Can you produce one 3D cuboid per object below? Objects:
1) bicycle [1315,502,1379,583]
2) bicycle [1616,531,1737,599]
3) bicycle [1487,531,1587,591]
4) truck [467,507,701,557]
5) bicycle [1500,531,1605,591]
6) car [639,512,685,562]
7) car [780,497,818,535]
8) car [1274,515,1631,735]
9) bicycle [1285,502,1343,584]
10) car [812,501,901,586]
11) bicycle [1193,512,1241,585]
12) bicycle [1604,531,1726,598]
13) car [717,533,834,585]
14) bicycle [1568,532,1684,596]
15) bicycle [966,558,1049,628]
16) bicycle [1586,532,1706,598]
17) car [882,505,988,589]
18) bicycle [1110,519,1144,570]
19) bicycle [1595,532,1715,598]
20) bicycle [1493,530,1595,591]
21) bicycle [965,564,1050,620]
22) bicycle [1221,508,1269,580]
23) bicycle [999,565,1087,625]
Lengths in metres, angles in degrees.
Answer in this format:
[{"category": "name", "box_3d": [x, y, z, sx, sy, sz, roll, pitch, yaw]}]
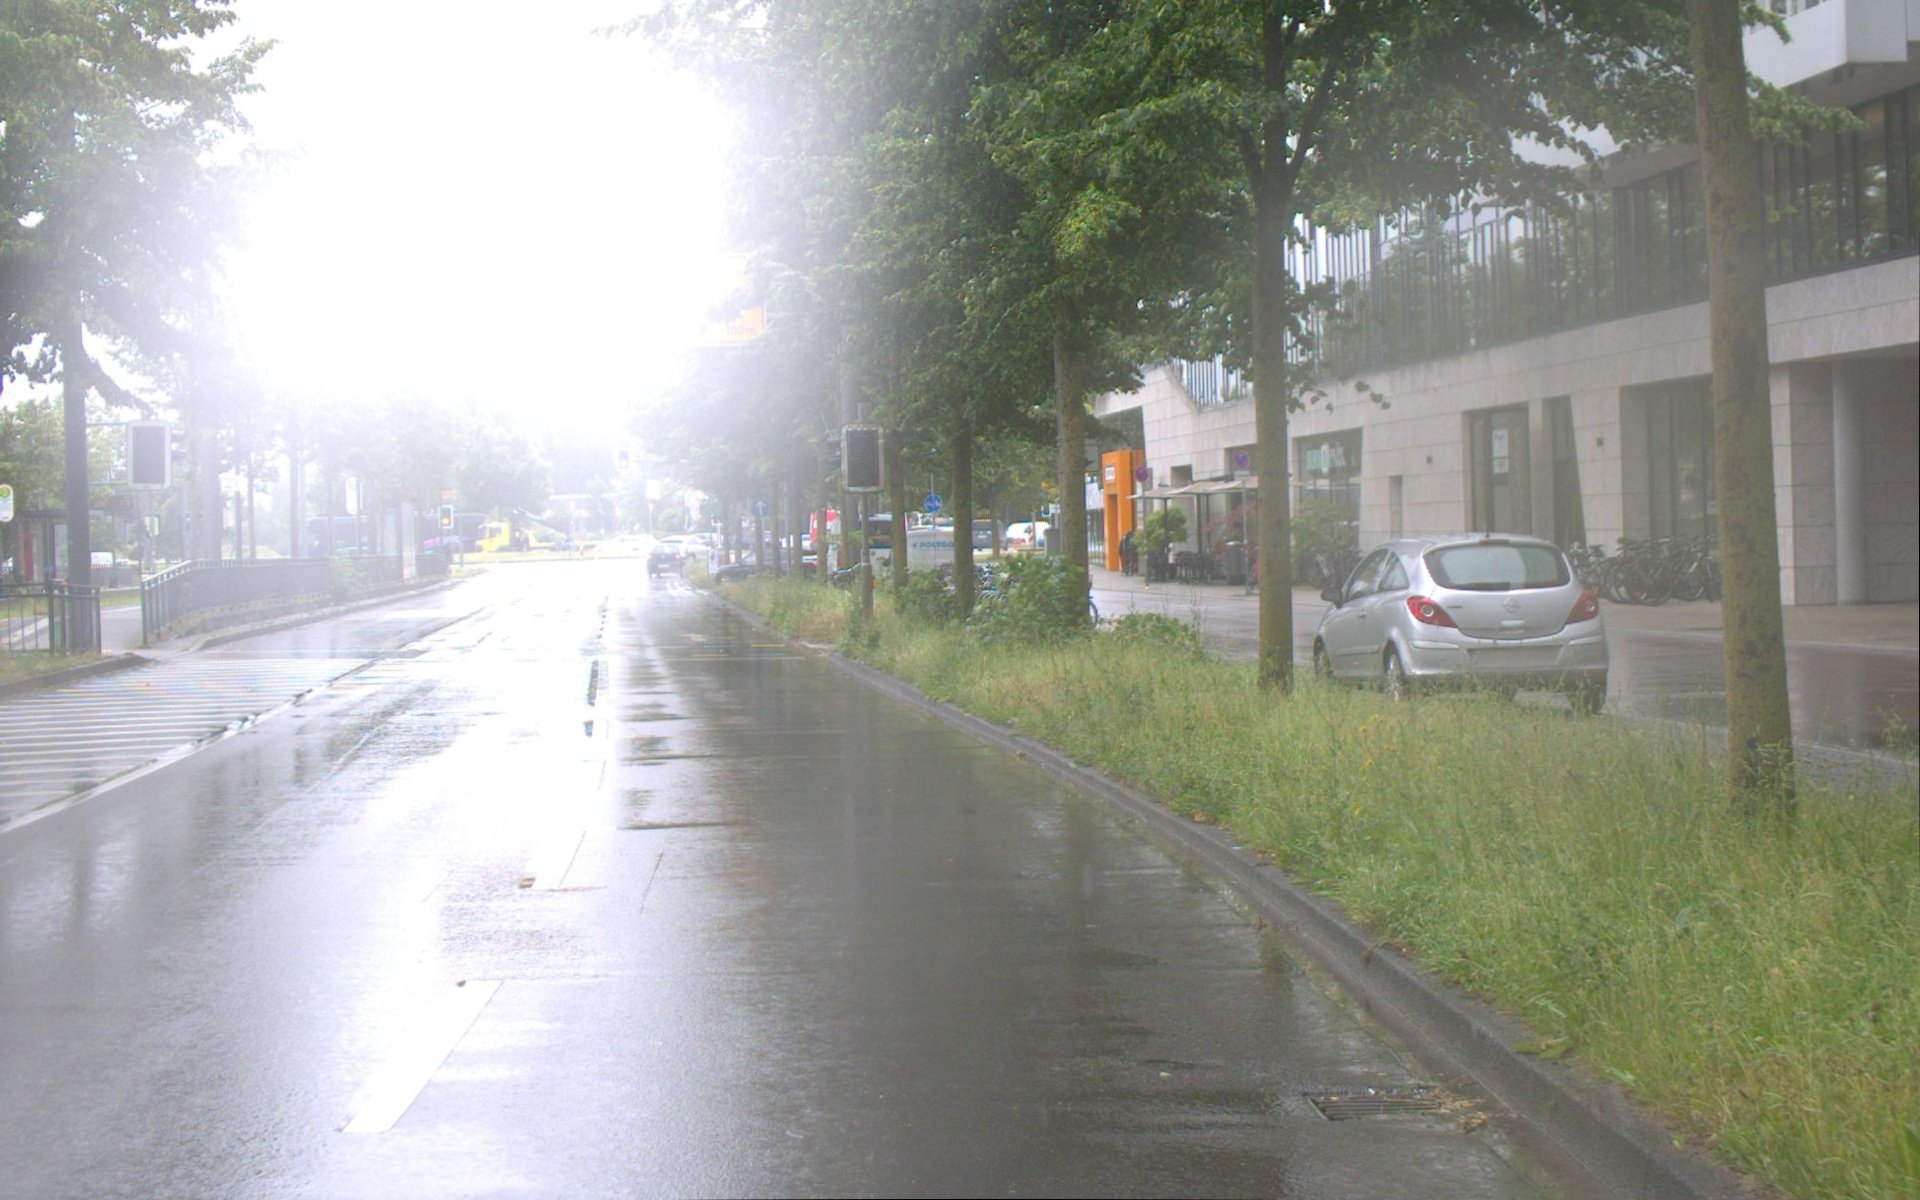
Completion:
[{"category": "bicycle", "box_3d": [8.841, -1.344, 78.726, 0.772, 1.716, 3.121, -1, 3, -6]}, {"category": "bicycle", "box_3d": [11.270, -0.546, 54.079, 1.806, 1.025, 0.401, -1, 1, -3]}, {"category": "bicycle", "box_3d": [10.289, -0.702, 61.340, 1.693, 1.025, 0.423, -1, 1, -3]}, {"category": "truck", "box_3d": [-24.449, -4.418, 223.411, 14.854, 3.136, 3.524, -1, 1, -12]}, {"category": "bicycle", "box_3d": [10.407, -0.684, 60.359, 1.750, 1.025, 0.412, -1, 1, -3]}, {"category": "car", "box_3d": [-13.089, -2.767, 150.791, 1.940, 2.006, 4.001, -1, 3, -5]}, {"category": "car", "box_3d": [-9.349, -4.880, 199.443, 1.993, 2.006, 4.001, -1, 3, -4]}, {"category": "car", "box_3d": [4.009, 0.131, 28.792, 1.881, 1.500, 4.725, -1, 3, -5]}, {"category": "bicycle", "box_3d": [8.074, -1.318, 78.526, 0.644, 1.716, 3.121, -1, 3, -6]}, {"category": "car", "box_3d": [-2.906, -1.574, 95.755, 2.121, 2.266, 4.565, -1, 1, -6]}, {"category": "bicycle", "box_3d": [6.611, -1.342, 88.639, 0.644, 1.716, 3.121, -1, 3, -6]}, {"category": "bicycle", "box_3d": [11.231, -0.568, 54.778, 1.806, 1.025, 0.541, -1, 1, -3]}, {"category": "car", "box_3d": [-6.043, -1.350, 112.295, 1.816, 1.539, 3.999, -4, 4, -38]}, {"category": "bicycle", "box_3d": [11.120, -0.596, 57.398, 1.806, 1.025, 0.541, -1, 1, -3]}, {"category": "bicycle", "box_3d": [0.759, -0.108, 54.698, 1.288, 1.070, 0.275, -1, 1, 3]}, {"category": "bicycle", "box_3d": [11.170, -0.575, 55.993, 1.806, 1.025, 0.541, -1, 1, -3]}, {"category": "car", "box_3d": [-0.600, -1.205, 77.222, 1.906, 1.785, 4.689, -1, 1, -6]}, {"category": "bicycle", "box_3d": [5.383, -1.813, 111.098, 0.666, 1.529, 2.765, -1, 3, -5]}, {"category": "bicycle", "box_3d": [11.192, -0.562, 55.387, 1.806, 1.025, 0.541, -1, 1, -3]}, {"category": "bicycle", "box_3d": [10.327, -0.700, 60.812, 1.693, 1.025, 0.423, -1, 1, -3]}, {"category": "bicycle", "box_3d": [0.741, -0.124, 53.814, 1.288, 0.846, 0.275, -2, 1, -1]}, {"category": "bicycle", "box_3d": [7.347, -1.456, 88.789, 0.644, 1.716, 3.121, -1, 3, -6]}, {"category": "bicycle", "box_3d": [1.257, -0.070, 51.934, 1.288, 0.871, 0.301, -1, 1, 5]}]
